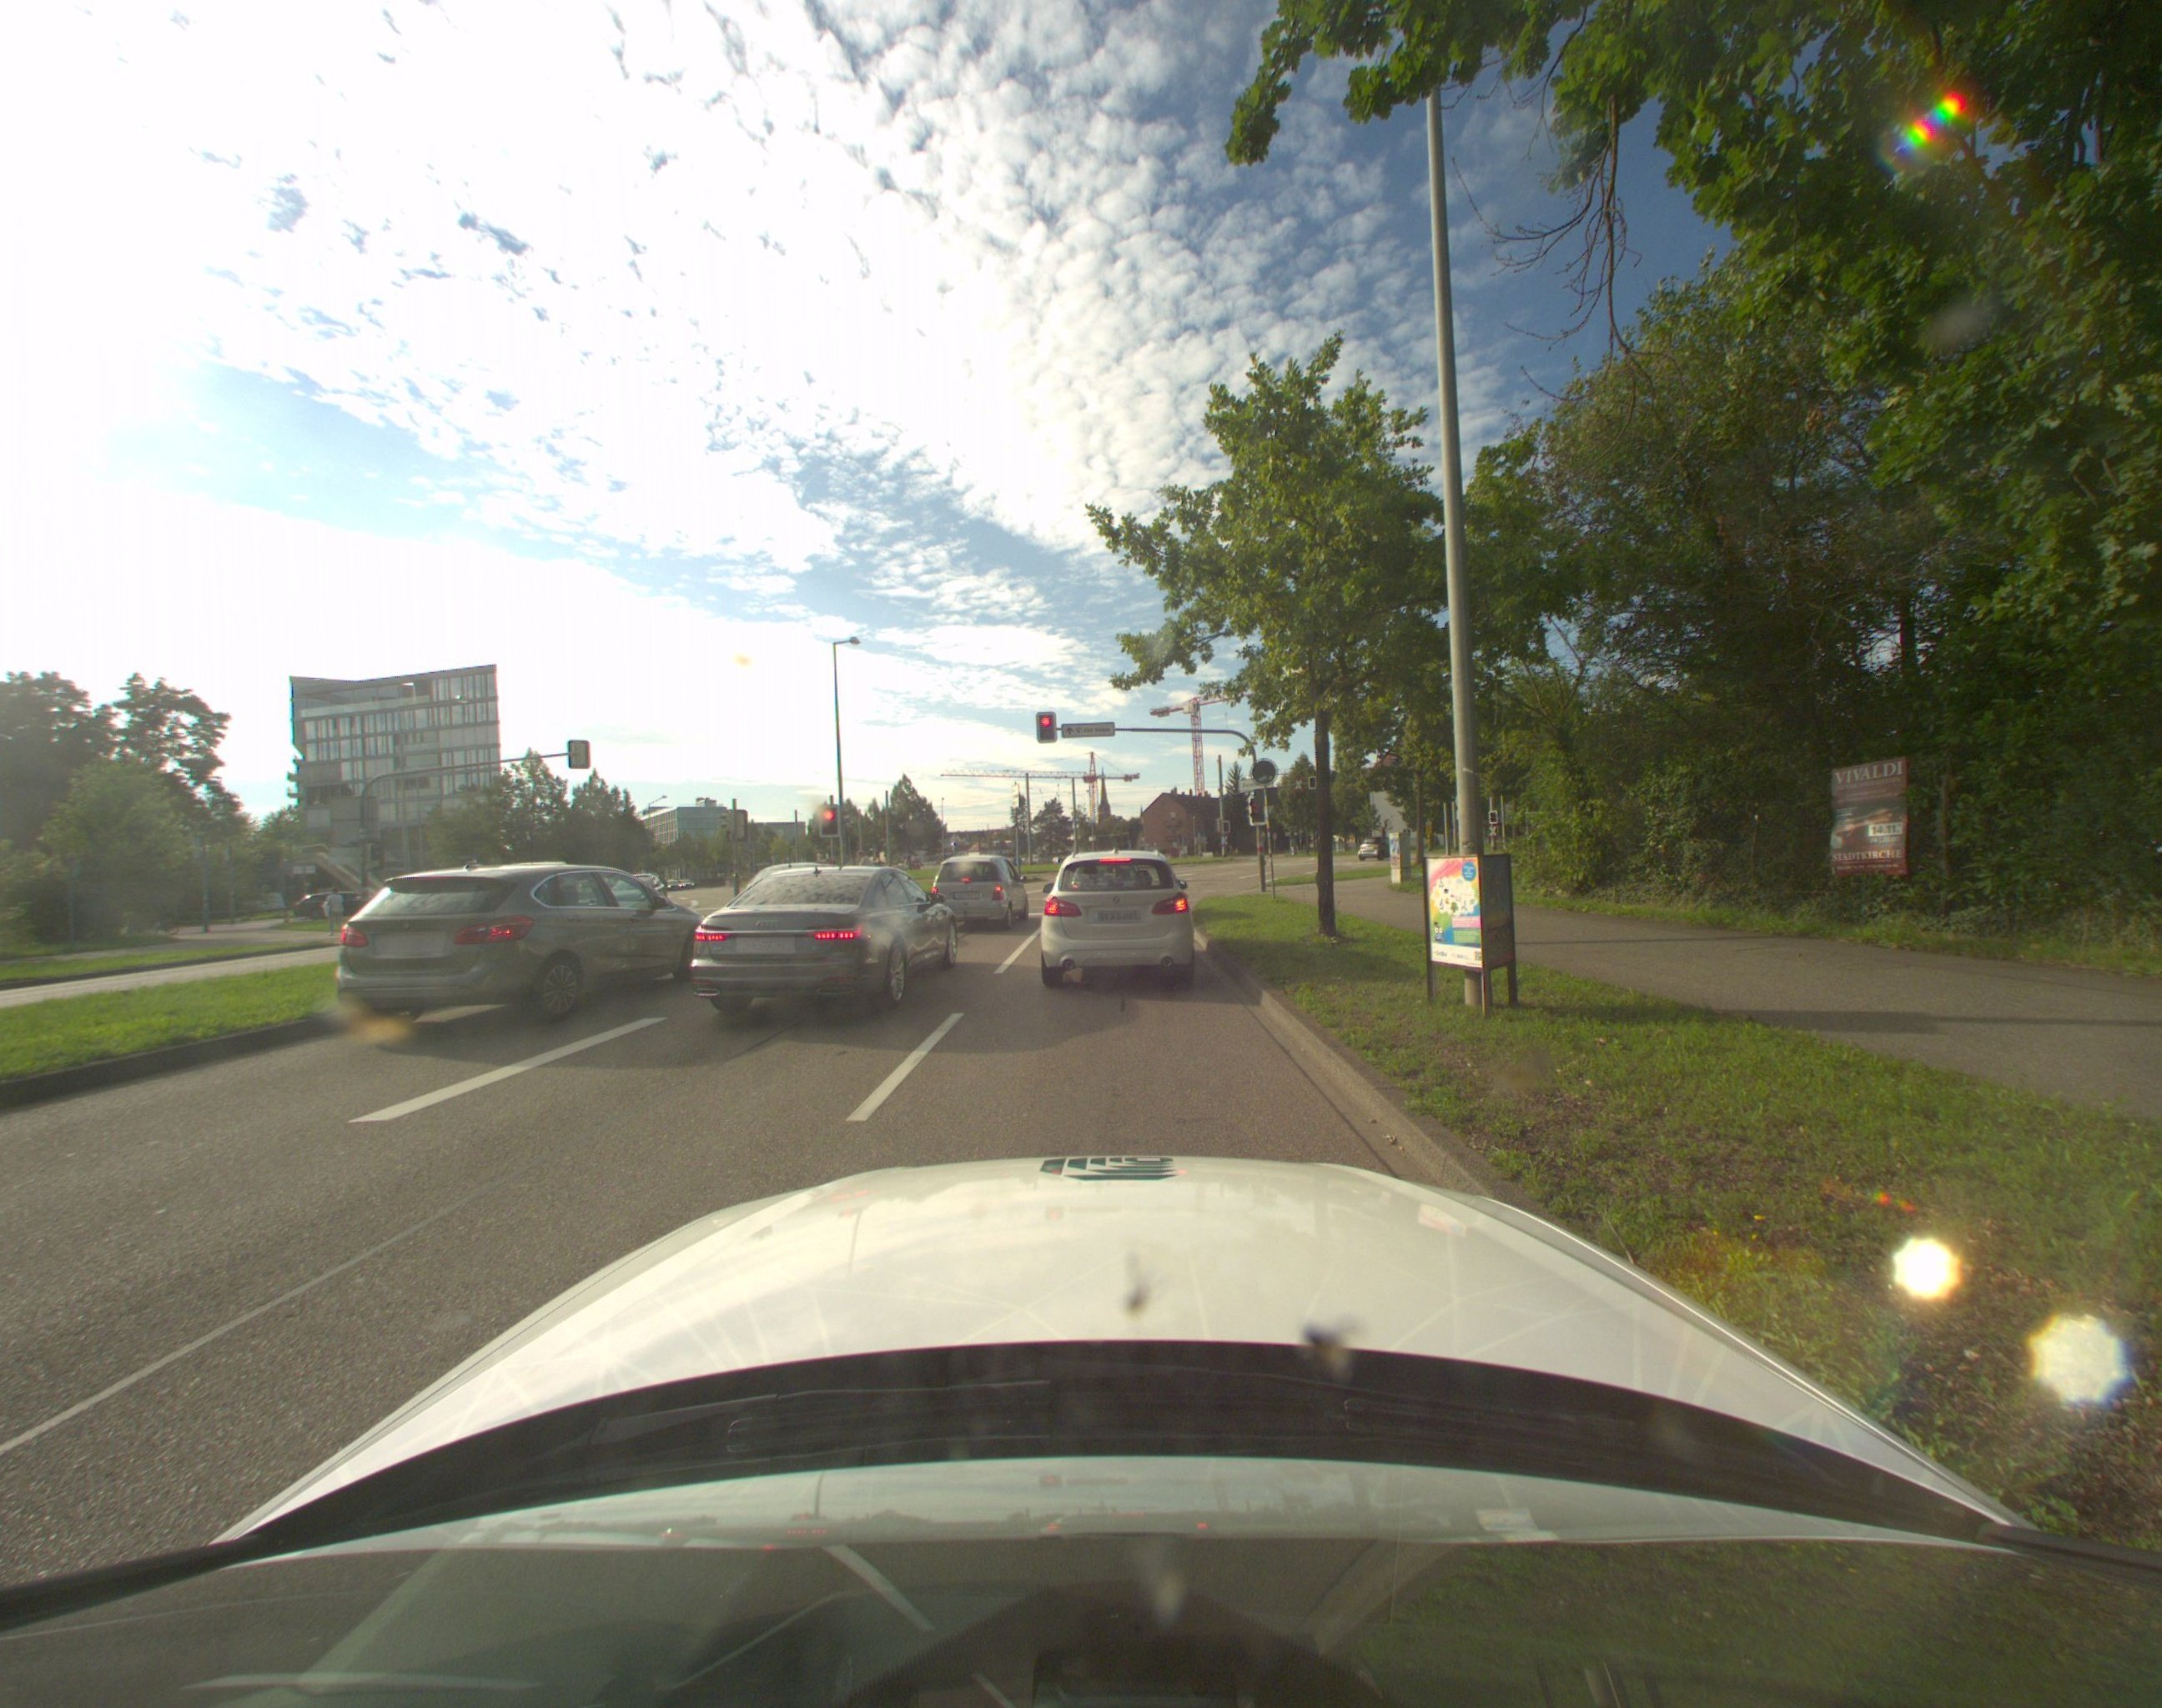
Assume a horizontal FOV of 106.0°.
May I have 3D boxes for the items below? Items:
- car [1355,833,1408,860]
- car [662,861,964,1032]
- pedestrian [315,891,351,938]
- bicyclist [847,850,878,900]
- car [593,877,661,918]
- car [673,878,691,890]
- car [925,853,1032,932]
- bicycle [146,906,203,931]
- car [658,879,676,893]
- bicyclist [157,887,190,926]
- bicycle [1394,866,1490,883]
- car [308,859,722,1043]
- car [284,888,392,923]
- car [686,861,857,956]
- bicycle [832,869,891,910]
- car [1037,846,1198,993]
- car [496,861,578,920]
[{"bbox_3d":[19.529,-0.495,52.927,3.211,1.574,1.558,-3,1,-34],"label":"car"},{"bbox_3d":[-2.735,0.843,9.590,1.883,1.483,4.614,-1,-1,2],"label":"car"},{"bbox_3d":[-26.111,2.099,28.439,0.653,1.569,0.615,-3,-1,-3],"label":"pedestrian"},{"bbox_3d":[-6.868,0.656,25.593,0.850,1.526,0.737,-3,-1,-15],"label":"bicyclist"},{"bbox_3d":[-18.930,1.788,34.121,1.909,1.409,4.174,-5,0,-23],"label":"car"},{"bbox_3d":[-53.713,3.973,109.582,1.628,1.464,3.690,-3,0,-36],"label":"car"},{"bbox_3d":[-2.184,0.773,18.436,1.722,1.558,4.060,-1,0,2],"label":"car"},{"bbox_3d":[-40.290,2.863,36.212,1.670,0.967,0.643,-3,1,-4],"label":"bicycle"},{"bbox_3d":[-48.206,3.736,94.811,1.600,1.415,3.638,-5,-2,-25],"label":"car"},{"bbox_3d":[-40.353,2.310,36.217,0.786,1.668,0.549,-3,-1,-4],"label":"bicyclist"},{"bbox_3d":[10.565,0.581,24.005,1.407,0.385,2.568,-3,0,-9],"label":"bicycle"},{"bbox_3d":[-5.888,0.871,9.201,1.722,1.558,4.021,-2,0,2],"label":"car"},{"bbox_3d":[-40.058,2.745,44.035,3.945,1.551,1.743,-3,0,-30],"label":"car"},{"bbox_3d":[-5.687,0.927,15.483,1.674,1.523,3.811,-1,0,1],"label":"car"},{"bbox_3d":[-6.888,1.097,25.584,1.728,1.163,0.652,-2,0,-15],"label":"bicycle"},{"bbox_3d":[0.457,0.718,10.897,1.723,1.558,4.059,-1,0,2],"label":"car"},{"bbox_3d":[-23.631,1.552,35.625,2.004,2.235,5.874,-4,0,-25],"label":"car"}]
